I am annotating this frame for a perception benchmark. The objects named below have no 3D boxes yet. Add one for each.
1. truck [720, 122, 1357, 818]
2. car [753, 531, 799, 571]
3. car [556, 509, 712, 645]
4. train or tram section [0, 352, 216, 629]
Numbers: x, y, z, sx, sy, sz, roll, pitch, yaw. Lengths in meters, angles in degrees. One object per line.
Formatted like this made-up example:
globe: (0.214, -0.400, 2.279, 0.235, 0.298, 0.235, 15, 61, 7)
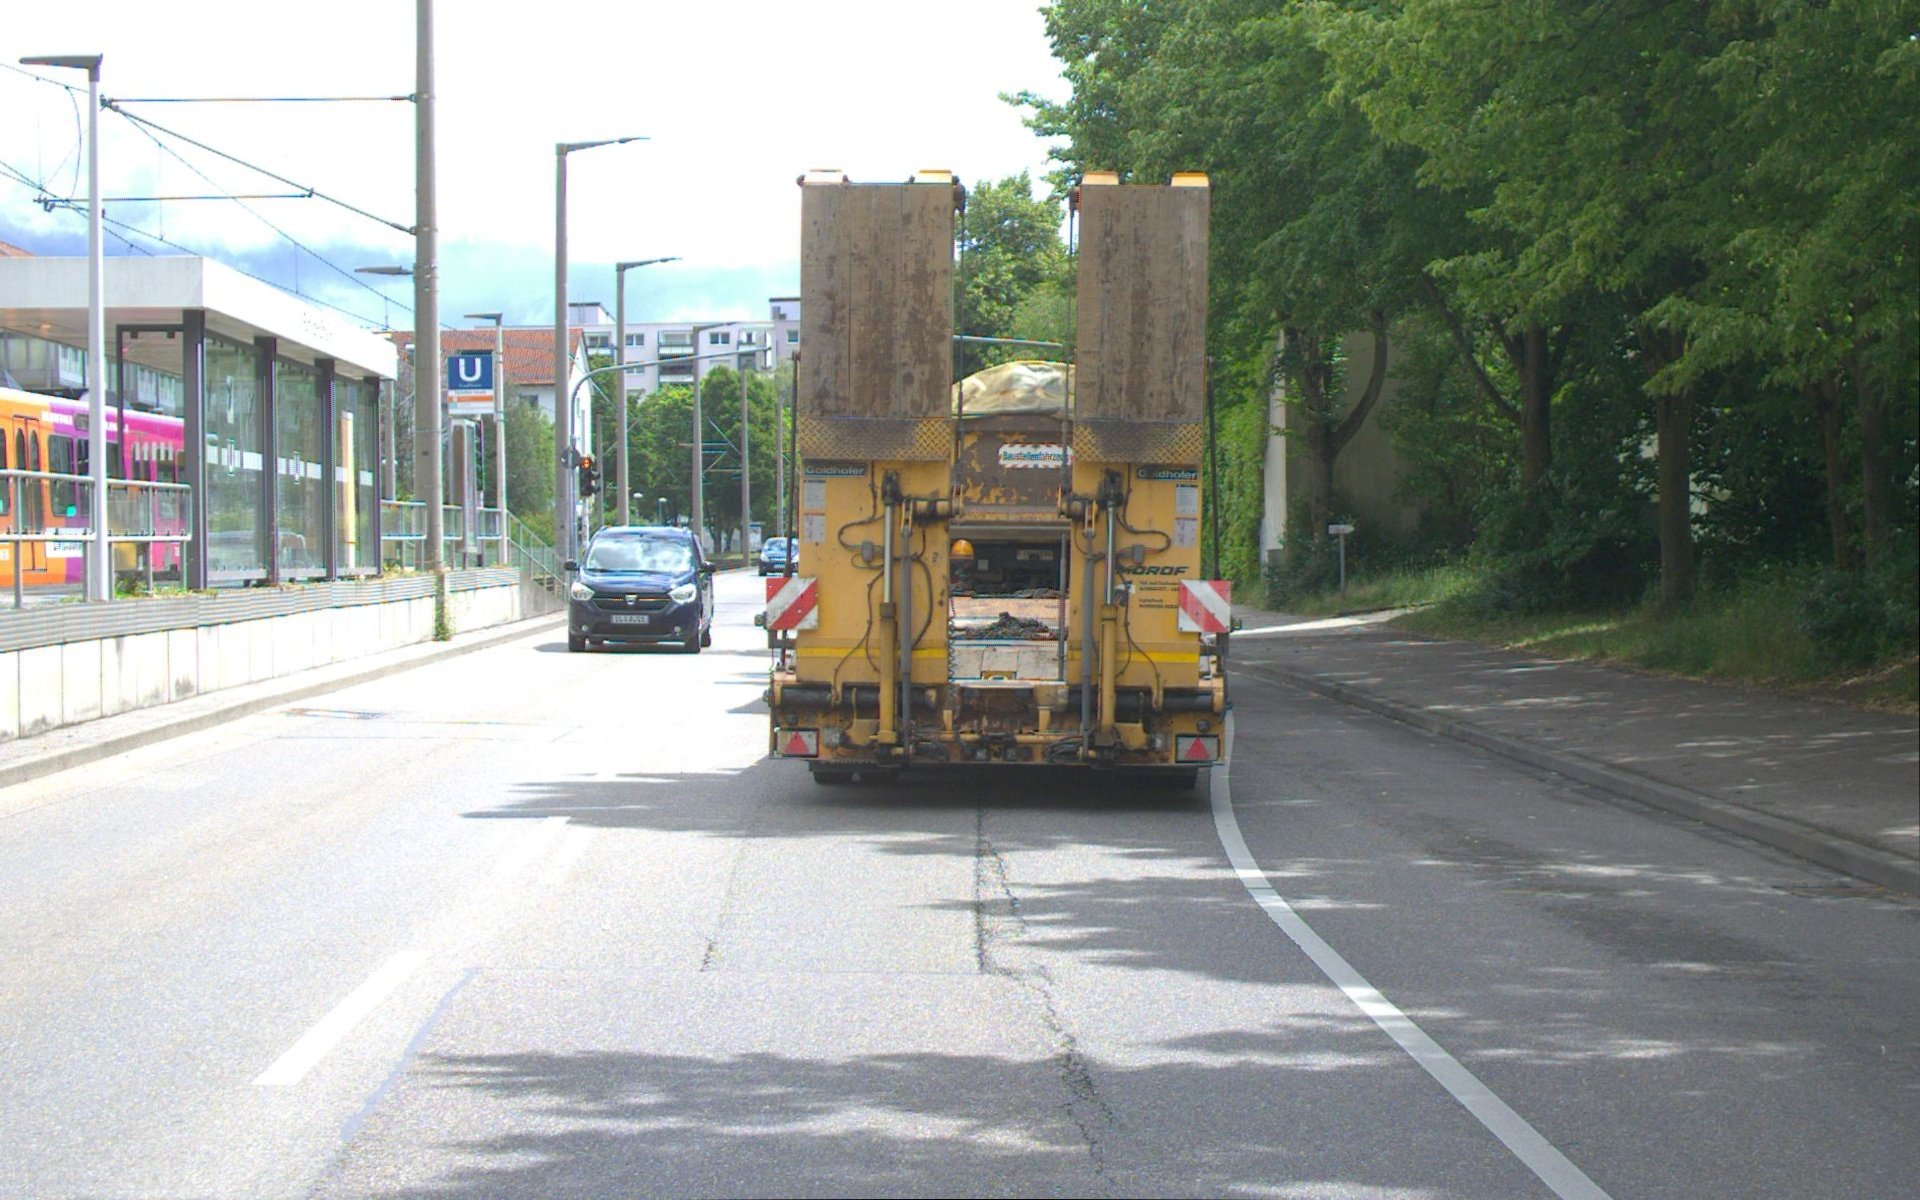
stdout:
truck: (-0.041, -0.845, 25.348, 3.402, 3.719, 13.741, 0, 1, -4)
car: (-7.044, -1.871, 131.888, 1.667, 1.448, 3.679, 1, 0, -2)
car: (-4.285, -0.333, 45.732, 1.720, 1.676, 4.388, 1, 1, -1)
train or tram section: (-13.676, -1.488, 47.665, 3.107, 3.453, 19.092, 1, 1, -2)
